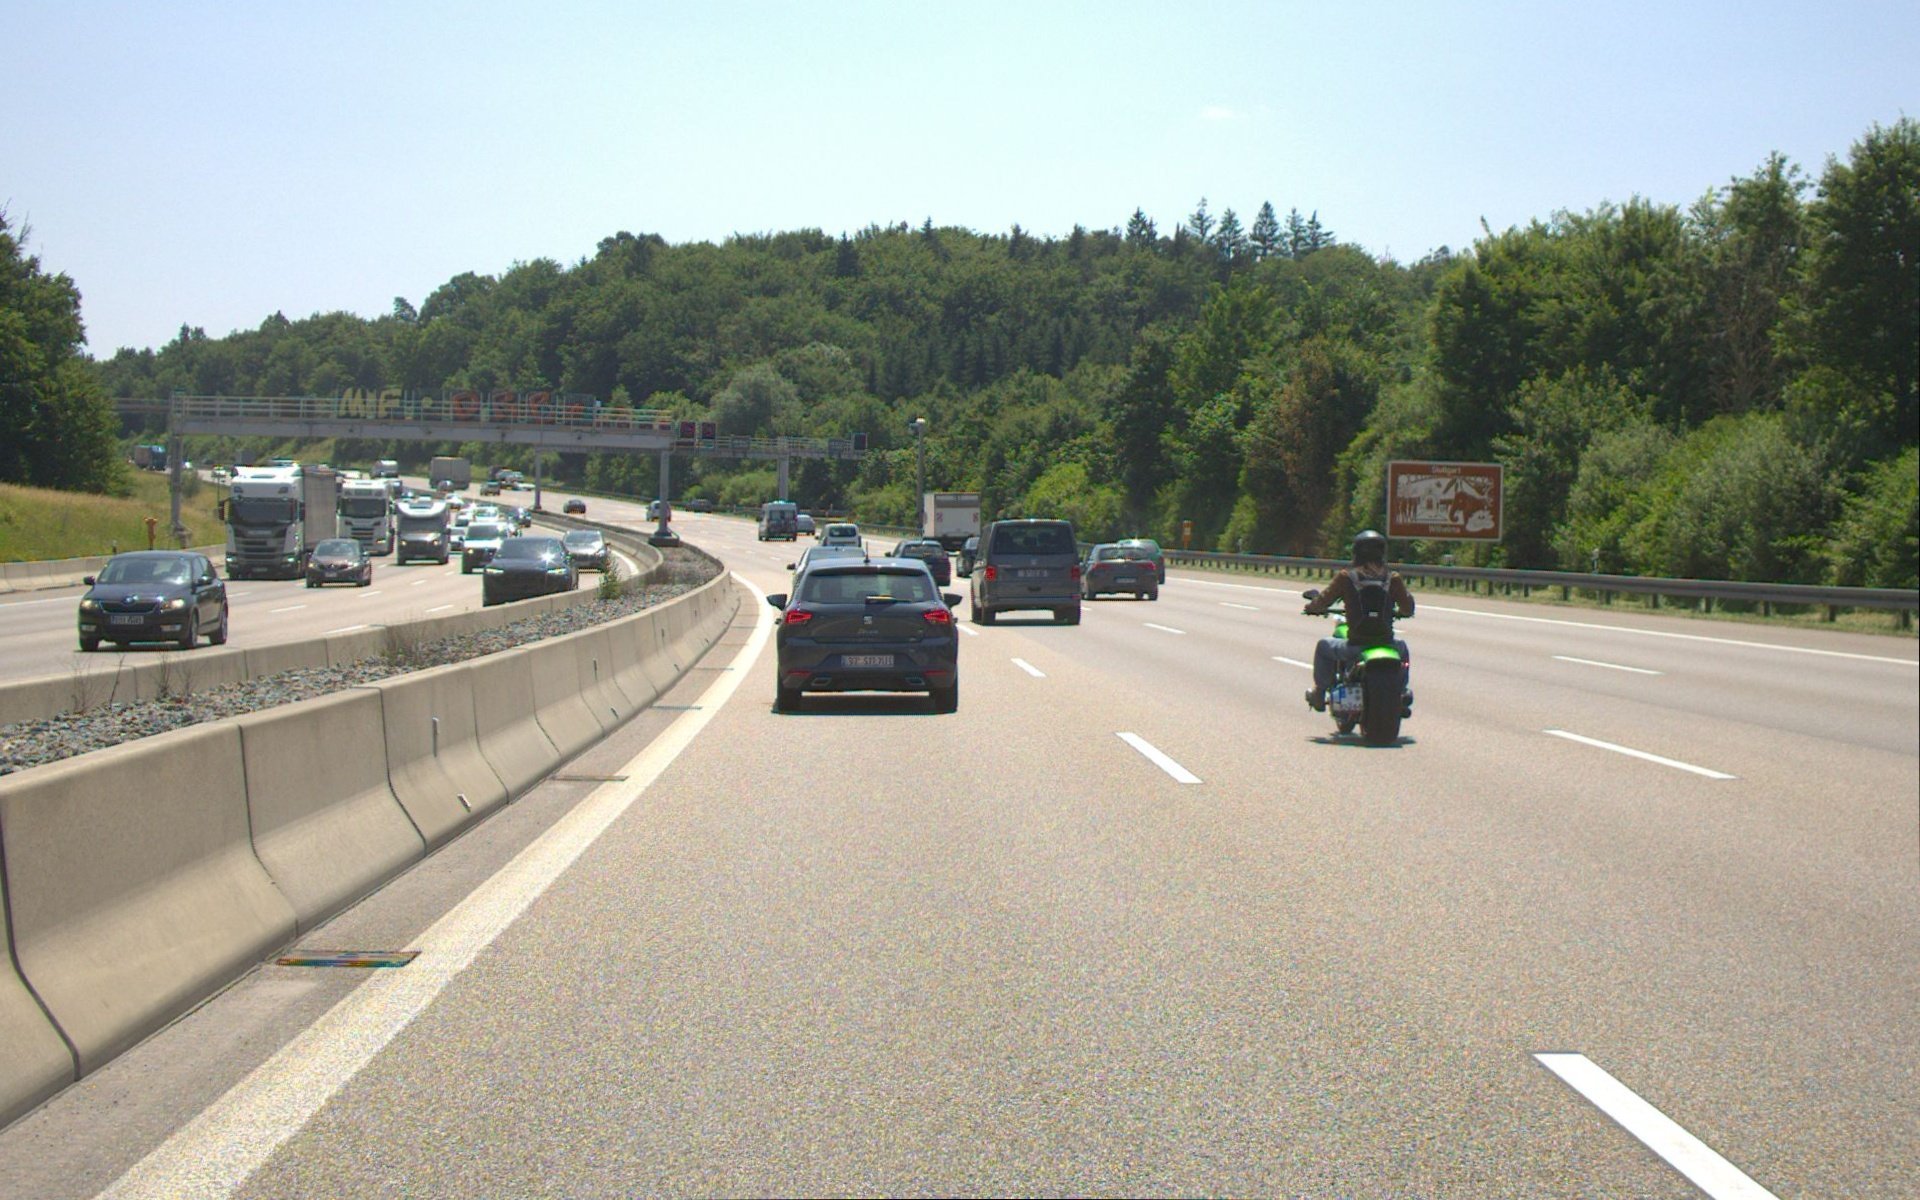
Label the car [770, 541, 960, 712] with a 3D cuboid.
[{"bbox_3d":[-0.937,0.206,33.266,1.708,1.428,4.001,1,3,-2],"label":"car"}]

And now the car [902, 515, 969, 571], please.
[{"bbox_3d":[-0.797,-1.801,108.940,1.945,1.706,4.001,1,1,-3],"label":"car"}]

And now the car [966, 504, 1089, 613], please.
[{"bbox_3d":[1.256,-0.784,66.226,1.962,2.026,5.084,0,0,-3],"label":"car"}]

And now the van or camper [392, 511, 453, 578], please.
[{"bbox_3d":[-24.163,-2.532,154.747,2.558,2.920,7.351,0,1,-8],"label":"van or camper"}]

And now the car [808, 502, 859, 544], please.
[{"bbox_3d":[-5.789,-3.522,156.813,2.103,1.738,4.689,0,3,-5],"label":"car"}]

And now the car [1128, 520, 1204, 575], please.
[{"bbox_3d":[6.629,-1.711,111.183,1.993,1.722,4.001,0,1,-3],"label":"car"}]

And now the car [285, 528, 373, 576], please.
[{"bbox_3d":[-19.982,-1.540,109.038,1.993,1.491,4.798,0,1,-1],"label":"car"}]

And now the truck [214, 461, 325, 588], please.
[{"bbox_3d":[-24.597,-2.668,122.781,3.042,4.357,6.456,1,1,-4],"label":"truck"}]

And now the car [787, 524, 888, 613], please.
[{"bbox_3d":[-2.651,-0.646,73.576,2.012,1.839,4.000,0,0,-4],"label":"car"}]

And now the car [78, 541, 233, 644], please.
[{"bbox_3d":[-12.099,-0.132,51.891,1.591,1.501,4.000,0,1,-3],"label":"car"}]

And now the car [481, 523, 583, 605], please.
[{"bbox_3d":[-9.836,-0.859,79.283,1.827,1.823,4.985,0,1,-1],"label":"car"}]

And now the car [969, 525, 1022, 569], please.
[{"bbox_3d":[1.269,-1.918,123.154,1.665,1.403,4.904,0,3,-2],"label":"car"}]

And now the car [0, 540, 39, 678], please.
[{"bbox_3d":[-11.513,0.109,37.155,1.993,1.514,4.587,0,1,-2],"label":"car"}]

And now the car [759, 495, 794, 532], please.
[{"bbox_3d":[-11.978,-5.689,224.863,2.265,2.363,4.703,0,2,-3],"label":"car"}]

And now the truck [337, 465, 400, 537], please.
[{"bbox_3d":[-30.530,-5.078,177.693,2.703,3.531,6.622,1,1,-6],"label":"truck"}]

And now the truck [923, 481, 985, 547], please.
[{"bbox_3d":[-0.344,-4.451,176.645,2.985,3.155,7.576,0,3,-2],"label":"truck"}]

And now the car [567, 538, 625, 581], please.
[{"bbox_3d":[-14.214,-1.582,134.385,1.872,1.627,5.164,0,1,-2],"label":"car"}]

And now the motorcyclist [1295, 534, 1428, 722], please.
[{"bbox_3d":[3.145,0.205,26.995,0.852,1.422,1.023,-1,2,-4],"label":"motorcyclist"}]

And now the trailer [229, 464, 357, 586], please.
[{"bbox_3d":[-25.145,-2.772,130.312,3.031,4.345,14.278,1,1,-4],"label":"trailer"}]

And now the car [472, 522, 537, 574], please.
[{"bbox_3d":[-17.757,-2.047,134.211,2.002,2.007,5.185,0,1,-2],"label":"car"}]

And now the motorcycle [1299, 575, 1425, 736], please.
[{"bbox_3d":[3.156,0.410,27.172,0.535,1.131,2.437,-1,2,-4],"label":"motorcycle"}]
